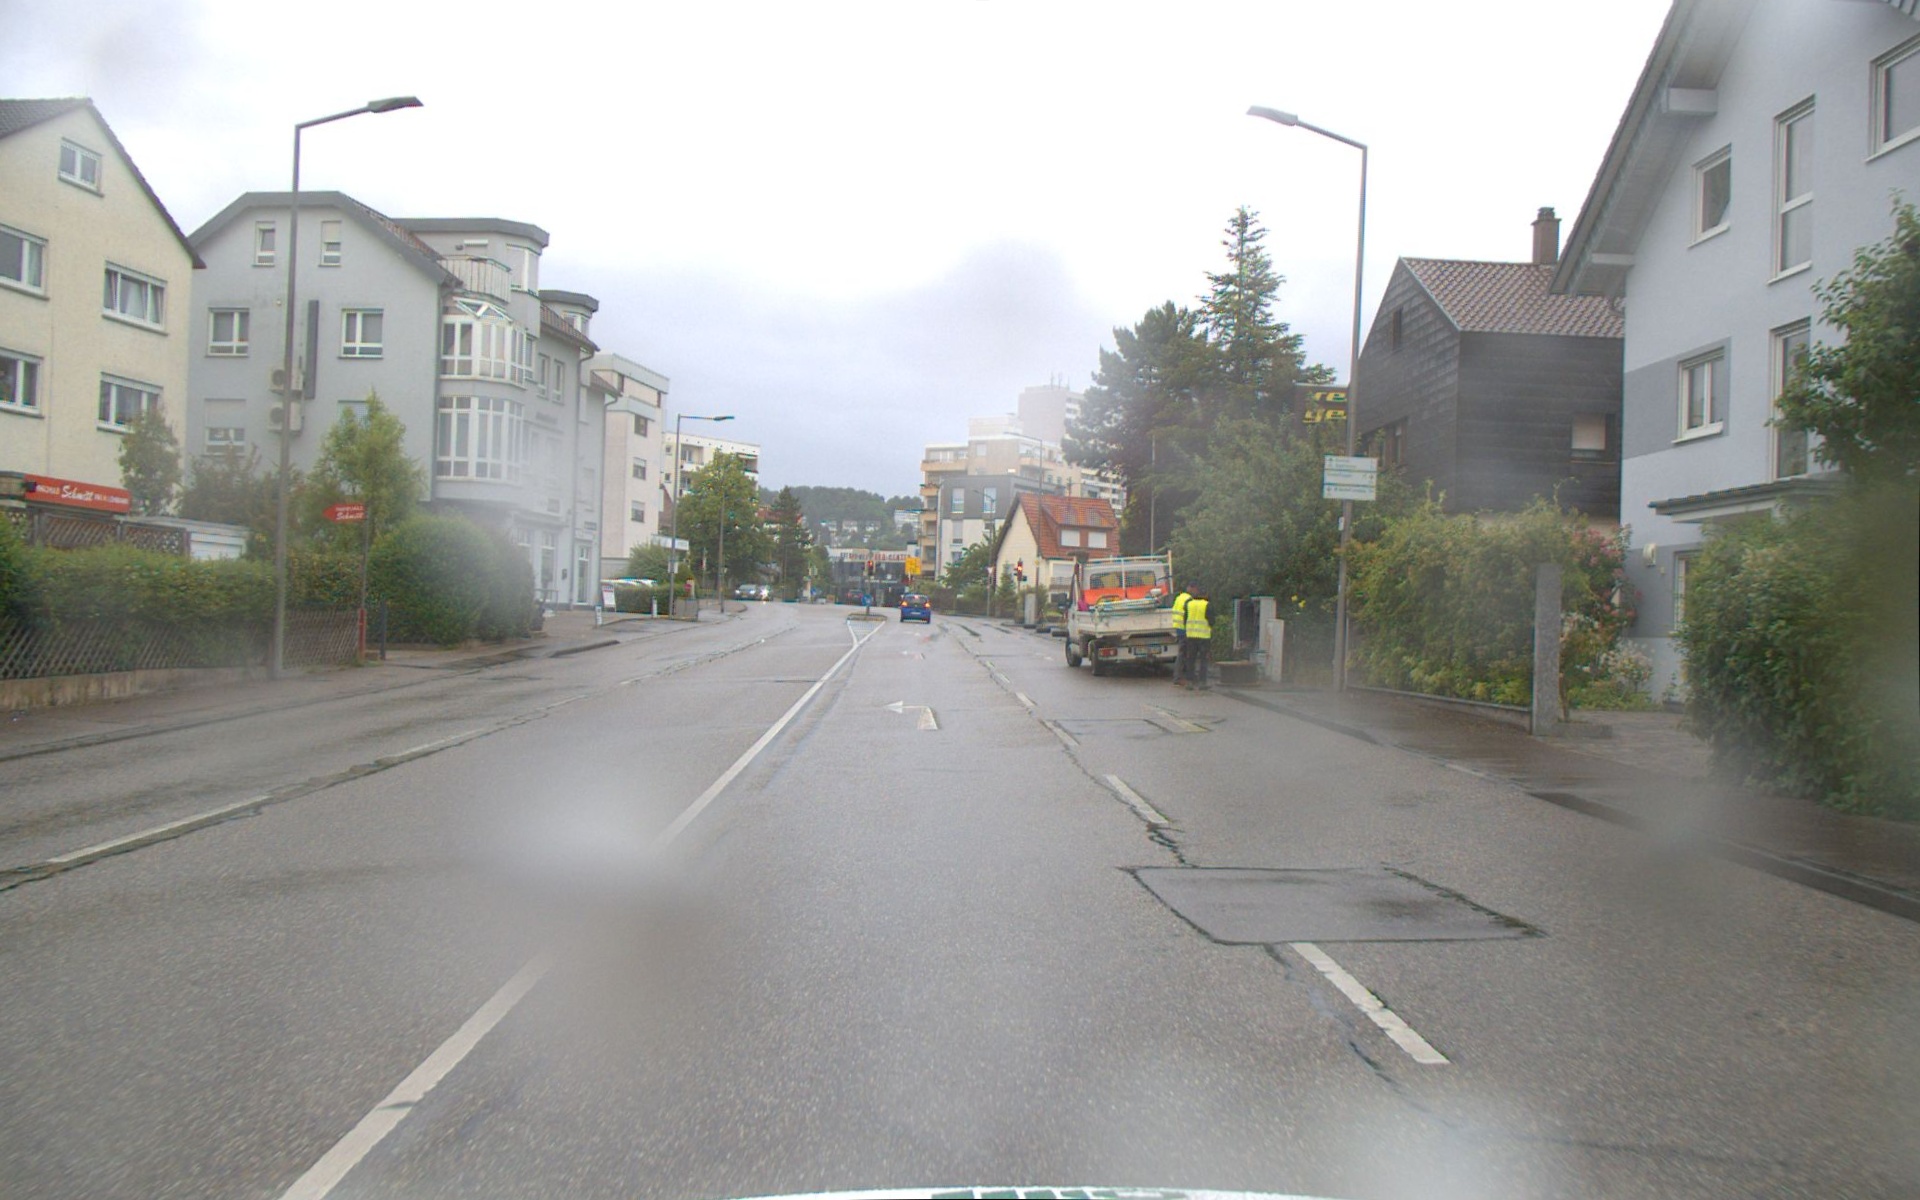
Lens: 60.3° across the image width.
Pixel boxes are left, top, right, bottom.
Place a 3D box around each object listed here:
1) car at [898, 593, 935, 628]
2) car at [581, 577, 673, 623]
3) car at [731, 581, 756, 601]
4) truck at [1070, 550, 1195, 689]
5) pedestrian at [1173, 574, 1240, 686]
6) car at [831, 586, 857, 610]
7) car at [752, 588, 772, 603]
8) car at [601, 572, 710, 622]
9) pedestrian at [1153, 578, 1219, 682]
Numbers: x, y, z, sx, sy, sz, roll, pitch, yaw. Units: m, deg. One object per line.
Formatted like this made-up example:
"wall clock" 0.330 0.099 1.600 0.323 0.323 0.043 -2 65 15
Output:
"car" -2.279 0.560 87.662 1.757 1.698 4.000 3 0 1
"car" -16.392 0.019 81.508 3.902 2.049 2.002 3 0 10
"car" -18.933 -0.757 144.721 1.626 1.488 3.999 6 -1 -1
"truck" 3.276 0.396 32.147 1.953 2.343 4.001 6 -1 2
"pedestrian" 4.099 0.495 27.555 0.810 1.829 0.796 1 -1 -19
"car" -8.216 -0.108 117.342 1.547 1.462 3.999 6 -1 -1
"car" -18.258 -0.402 152.734 1.408 1.256 3.999 3 0 -1
"car" -14.015 -0.133 76.290 4.426 2.049 2.001 3 0 13
"pedestrian" 3.884 0.510 28.434 0.810 1.756 0.837 1 -1 -19
